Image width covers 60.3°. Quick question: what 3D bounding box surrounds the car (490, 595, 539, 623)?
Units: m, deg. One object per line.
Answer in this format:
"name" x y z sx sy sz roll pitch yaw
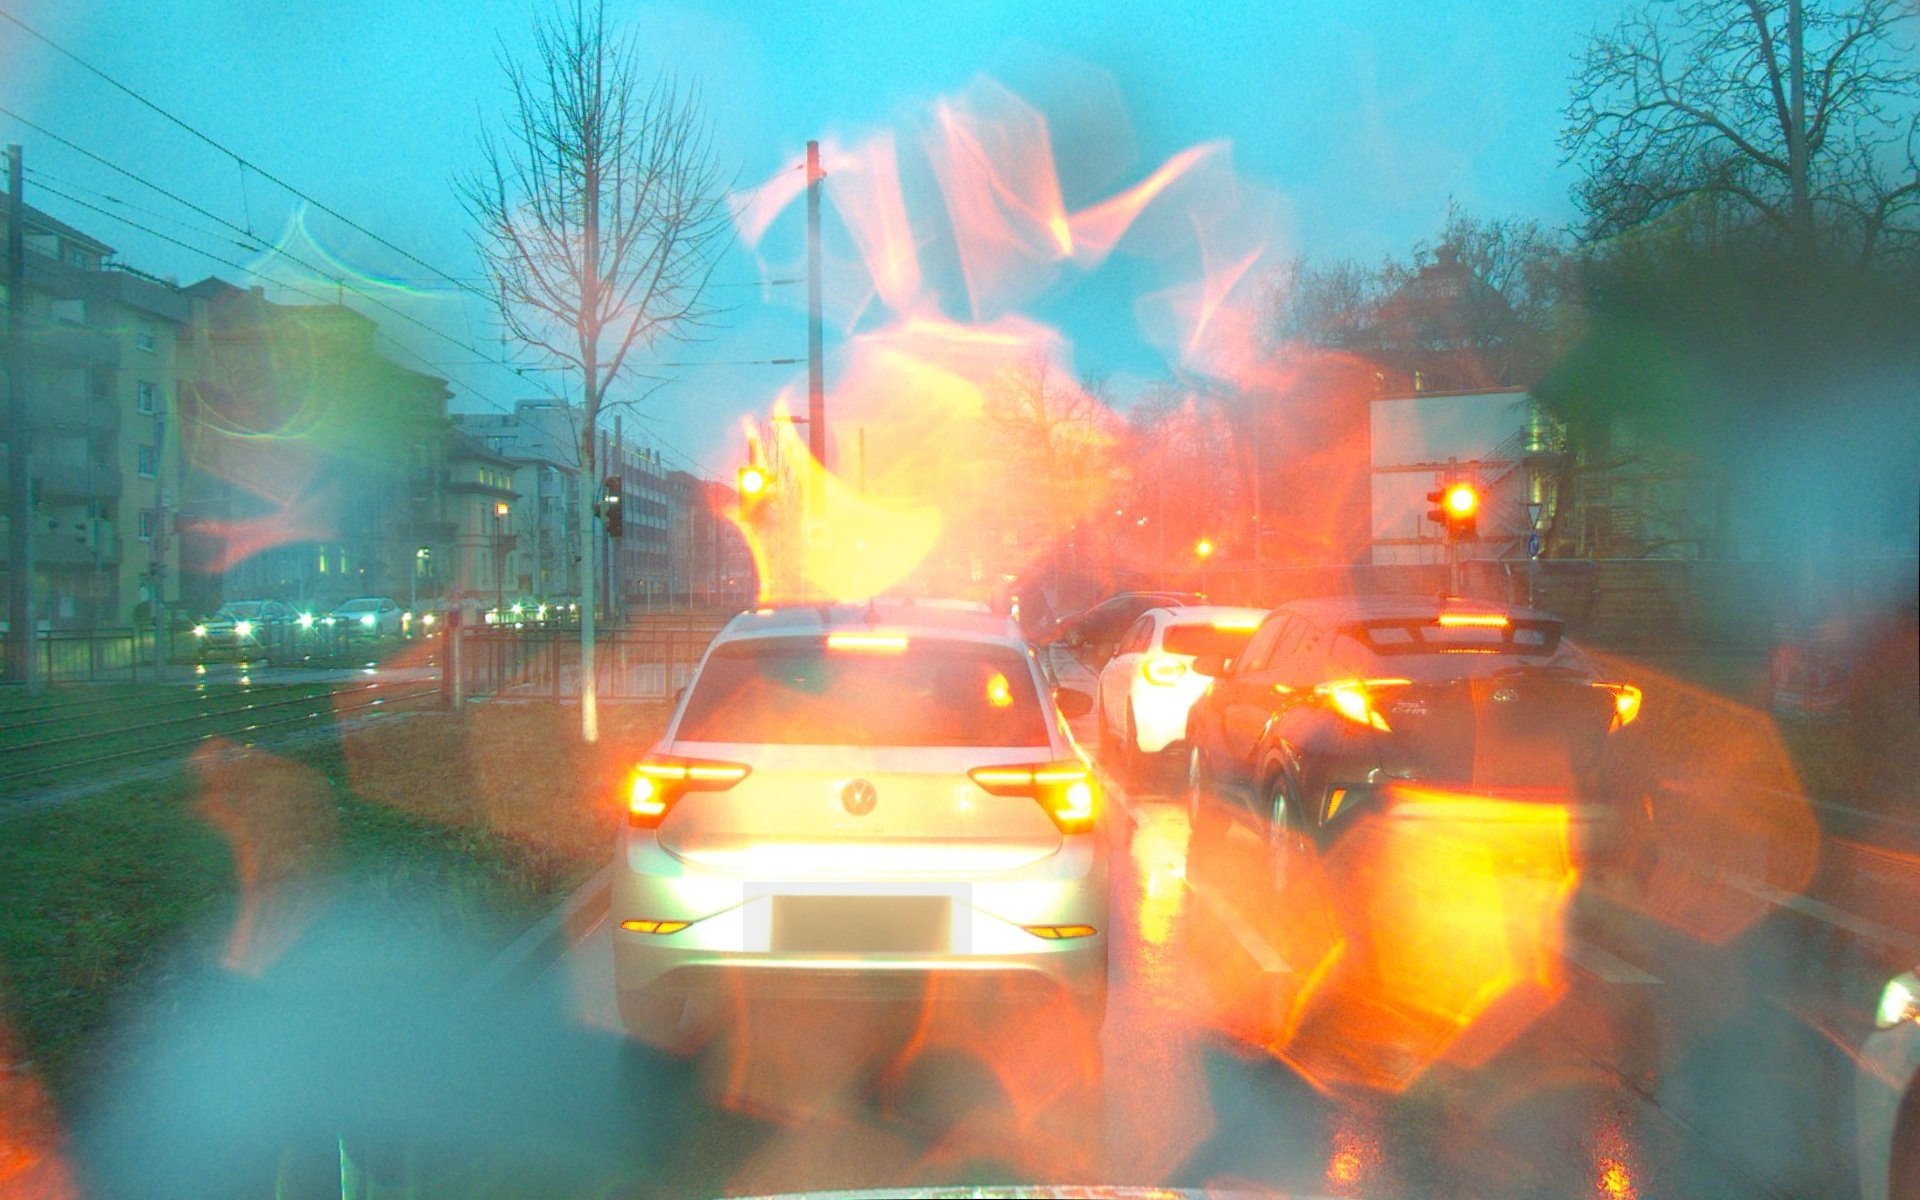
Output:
"car" -27.234 0.529 101.242 1.910 1.630 4.000 1 0 0

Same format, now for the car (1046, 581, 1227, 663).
"car" 4.549 0.545 42.689 4.192 1.977 1.996 1 0 30

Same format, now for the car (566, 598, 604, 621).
"car" -28.542 0.713 126.000 1.910 1.630 4.000 1 0 0

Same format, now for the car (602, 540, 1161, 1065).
"car" -0.307 0.589 6.952 1.659 1.560 3.998 1 0 -2

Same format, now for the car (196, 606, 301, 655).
"car" -20.582 0.849 48.023 1.658 1.300 4.142 -1 0 -7

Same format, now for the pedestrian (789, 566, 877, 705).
"pedestrian" -1.928 0.521 25.140 0.995 2.049 0.951 -1 0 -33

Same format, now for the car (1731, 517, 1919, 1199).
"car" 2.890 0.632 1.427 1.826 1.583 4.933 -1 1 -5

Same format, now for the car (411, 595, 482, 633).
"car" -22.864 0.610 73.782 1.910 1.630 4.000 1 0 0

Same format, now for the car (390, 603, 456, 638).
"car" -26.033 0.980 80.301 1.910 1.630 4.000 1 0 0

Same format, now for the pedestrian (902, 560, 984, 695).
"pedestrian" -0.274 0.409 25.750 0.946 2.049 1.000 -1 0 -23

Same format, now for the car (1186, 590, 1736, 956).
"car" 2.397 0.726 8.973 1.763 1.537 3.895 -1 0 -1

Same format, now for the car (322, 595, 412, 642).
"car" -21.132 0.624 59.105 1.829 1.604 3.999 -1 0 -1

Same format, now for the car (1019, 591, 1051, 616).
"car" 4.449 0.186 98.362 1.702 1.444 3.703 -1 0 -1

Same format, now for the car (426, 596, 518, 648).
"car" -16.172 0.712 55.008 1.953 1.630 3.999 1 0 -2

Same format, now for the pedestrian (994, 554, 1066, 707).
"pedestrian" 0.959 0.408 22.742 0.939 2.049 1.008 -1 0 2

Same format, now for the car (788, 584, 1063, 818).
"car" -0.246 0.633 13.027 1.762 1.492 4.585 -1 1 -1

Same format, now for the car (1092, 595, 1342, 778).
"car" 2.253 0.710 15.413 1.710 1.458 3.731 1 0 0
